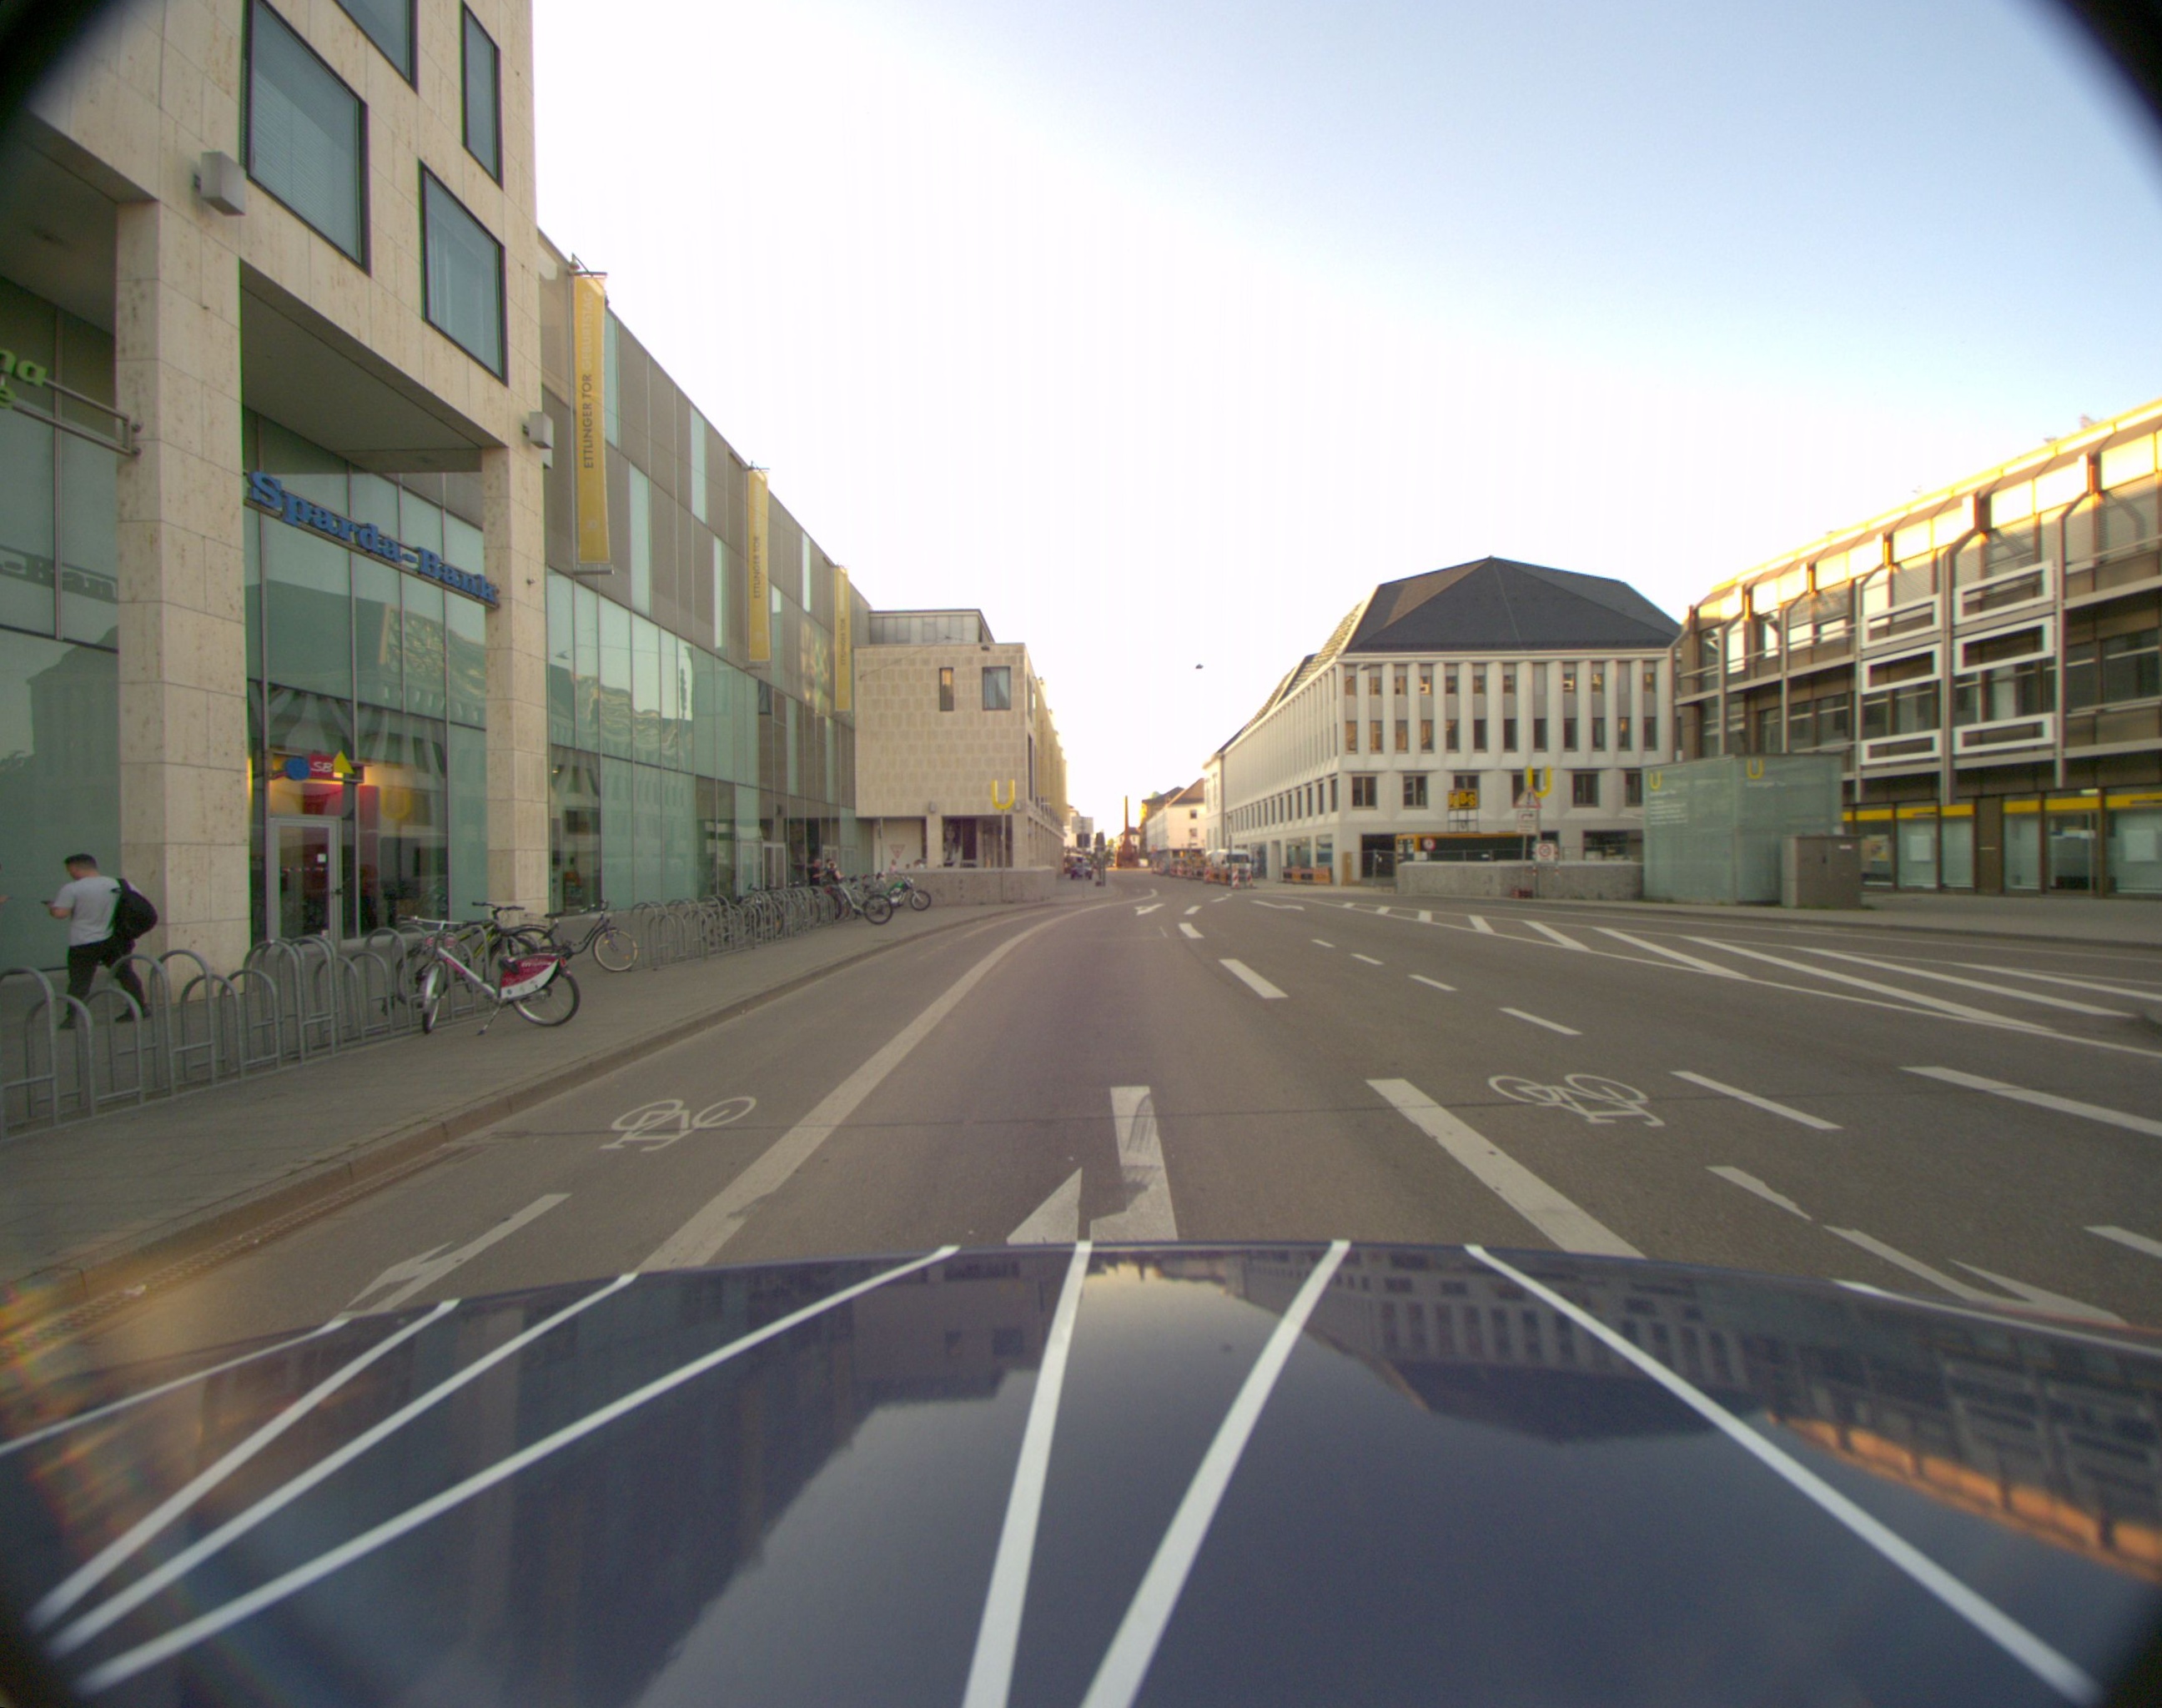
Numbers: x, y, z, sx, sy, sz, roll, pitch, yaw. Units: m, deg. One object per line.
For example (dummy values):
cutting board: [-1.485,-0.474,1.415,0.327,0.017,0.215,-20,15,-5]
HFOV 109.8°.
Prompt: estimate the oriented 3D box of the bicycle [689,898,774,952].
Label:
bicycle: [-6.655,1.345,14.501,1.345,0.927,0.518,-3,0,-1]

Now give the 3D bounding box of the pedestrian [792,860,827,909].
pedestrian: [-9.177,1.015,25.701,0.738,1.638,0.822,0,0,38]

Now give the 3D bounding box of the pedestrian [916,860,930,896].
pedestrian: [-7.637,1.146,36.728,0.494,1.733,0.657,-1,0,3]

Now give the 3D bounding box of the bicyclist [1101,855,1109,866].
bicyclist: [3.393,0.954,108.806,0.975,1.544,0.975,-1,0,10]

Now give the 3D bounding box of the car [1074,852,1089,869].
car: [0.045,0.851,100.099,1.798,2.198,3.671,-1,0,2]

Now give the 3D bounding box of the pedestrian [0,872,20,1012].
pedestrian: [-12.991,1.035,8.720,0.629,1.642,0.708,-1,0,2]

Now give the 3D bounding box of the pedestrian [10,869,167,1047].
pedestrian: [-9.808,0.996,7.531,0.707,1.682,0.629,-1,0,1]

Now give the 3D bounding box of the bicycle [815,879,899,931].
bicycle: [-5.389,1.221,18.317,1.838,1.140,0.466,-3,0,1]

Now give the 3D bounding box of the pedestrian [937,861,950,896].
pedestrian: [-6.775,1.206,37.349,0.504,1.733,0.493,-1,0,3]

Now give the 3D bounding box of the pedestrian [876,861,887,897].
pedestrian: [-9.530,1.187,36.212,0.364,1.733,0.452,-1,0,3]

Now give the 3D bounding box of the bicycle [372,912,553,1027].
bicycle: [-6.798,1.259,8.390,1.518,1.117,0.581,-3,0,4]

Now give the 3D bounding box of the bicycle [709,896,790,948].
bicycle: [-6.596,1.354,15.146,1.345,0.927,0.518,-3,0,-1]

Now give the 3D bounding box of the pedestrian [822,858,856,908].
pedestrian: [-8.261,0.969,25.968,0.696,1.686,0.822,0,0,38]

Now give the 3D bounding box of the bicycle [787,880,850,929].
bicycle: [-6.604,1.267,19.160,1.345,1.157,0.518,-3,0,-1]

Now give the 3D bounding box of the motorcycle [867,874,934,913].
motorcycle: [-5.711,1.244,24.082,2.007,1.217,0.480,-1,0,-2]

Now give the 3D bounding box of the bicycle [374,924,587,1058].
bicycle: [-5.398,1.219,6.864,1.518,1.057,0.466,-3,0,1]

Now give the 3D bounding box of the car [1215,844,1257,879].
car: [11.985,0.597,59.161,2.141,2.540,6.050,-1,0,1]

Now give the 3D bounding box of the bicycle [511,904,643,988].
bicycle: [-7.303,1.316,11.070,1.447,1.058,0.580,-3,0,-10]

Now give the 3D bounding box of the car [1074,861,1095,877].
car: [0.335,1.305,67.844,1.798,1.365,3.671,-1,0,2]

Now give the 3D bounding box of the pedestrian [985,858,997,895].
pedestrian: [-4.327,1.077,36.470,0.454,1.733,0.493,-1,0,3]

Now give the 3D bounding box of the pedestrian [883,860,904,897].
pedestrian: [-8.878,1.161,36.029,0.793,1.733,0.657,-1,0,3]

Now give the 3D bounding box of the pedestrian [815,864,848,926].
pedestrian: [-6.755,1.103,20.599,0.809,1.633,0.646,-1,0,-18]

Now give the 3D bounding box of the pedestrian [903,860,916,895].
pedestrian: [-8.485,1.169,37.564,0.494,1.733,0.549,-1,0,3]

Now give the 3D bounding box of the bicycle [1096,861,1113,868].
bicycle: [3.411,1.523,108.795,2.371,1.052,0.730,-1,0,10]

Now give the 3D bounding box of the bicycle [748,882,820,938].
bicycle: [-6.659,1.239,17.075,1.345,1.157,0.518,-3,0,-1]
